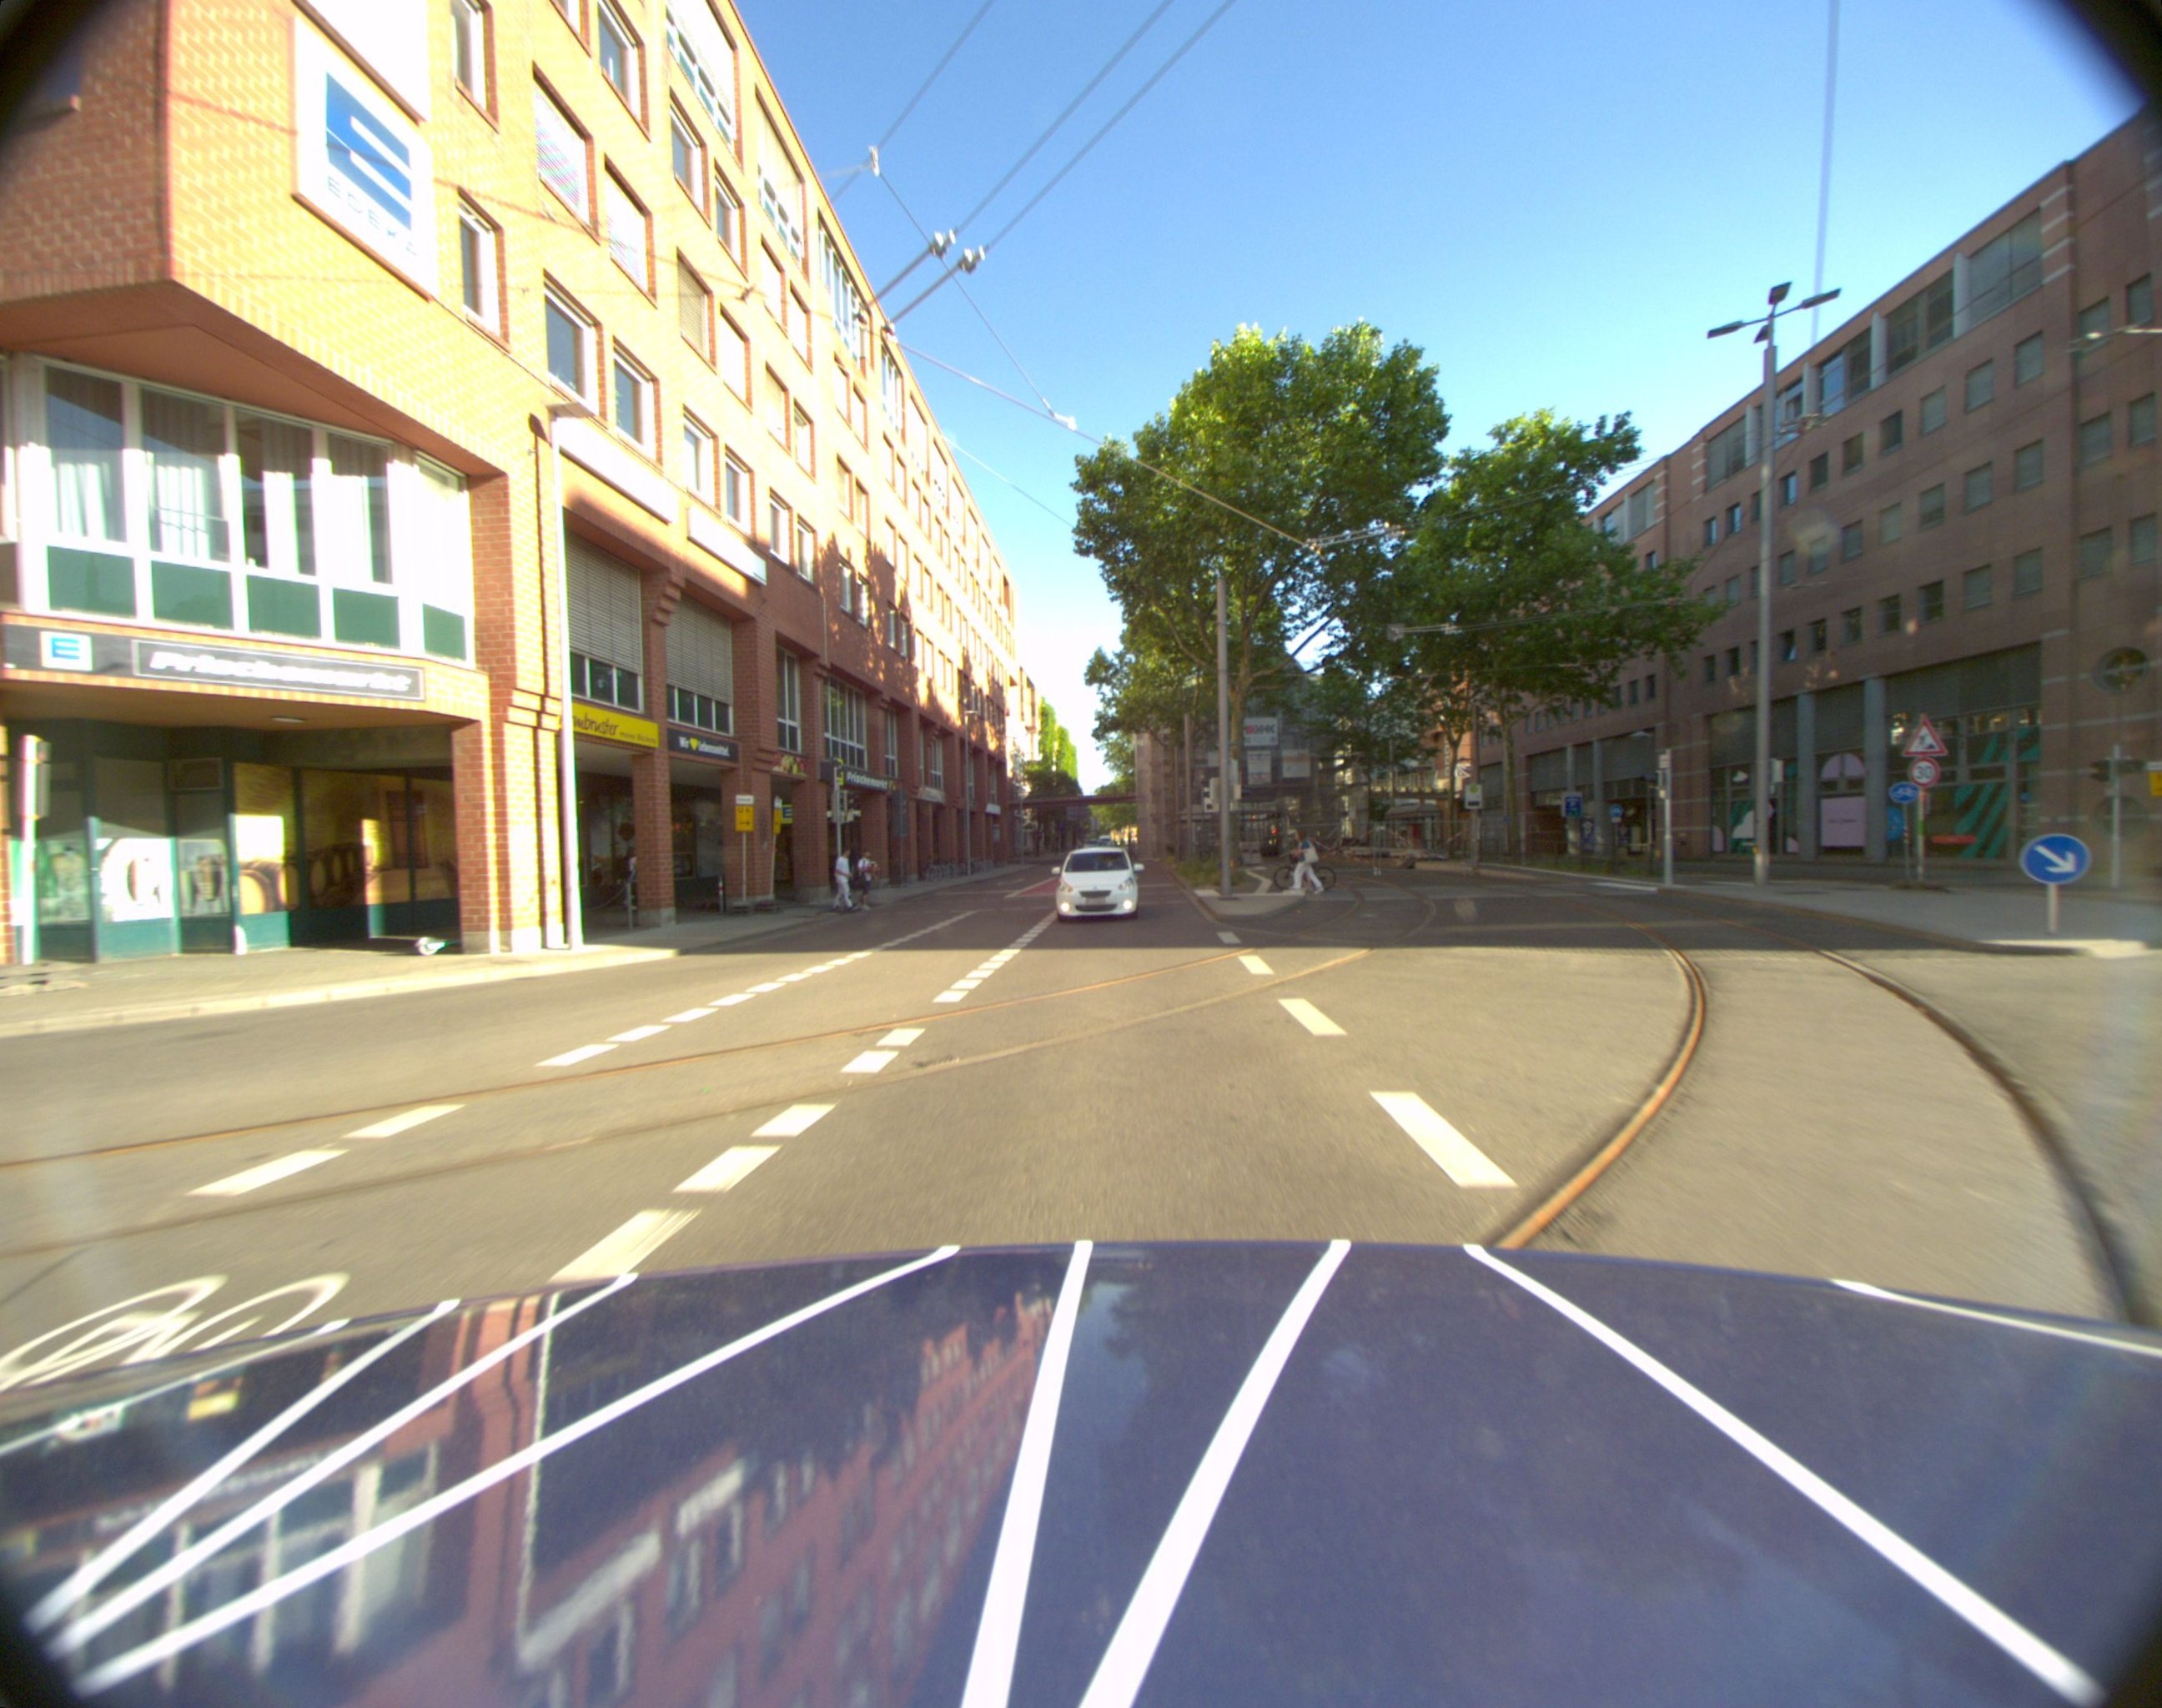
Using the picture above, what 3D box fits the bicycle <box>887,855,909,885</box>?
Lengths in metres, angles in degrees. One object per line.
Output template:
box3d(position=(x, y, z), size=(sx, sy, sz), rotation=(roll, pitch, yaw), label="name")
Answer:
box3d(position=(-7.486, 0.647, 31.128), size=(0.340, 1.176, 1.679), rotation=(-1, 0, 6), label="bicycle")

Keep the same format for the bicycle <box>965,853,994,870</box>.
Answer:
box3d(position=(-6.077, 0.451, 45.563), size=(1.614, 0.949, 0.555), rotation=(1, 1, 6), label="bicycle")

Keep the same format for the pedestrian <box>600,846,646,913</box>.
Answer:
box3d(position=(-11.650, 0.629, 19.352), size=(0.601, 1.652, 0.797), rotation=(-2, 1, 4), label="pedestrian")

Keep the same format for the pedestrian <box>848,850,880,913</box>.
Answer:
box3d(position=(-6.051, 0.749, 21.171), size=(0.631, 1.715, 0.634), rotation=(-2, 1, -37), label="pedestrian")

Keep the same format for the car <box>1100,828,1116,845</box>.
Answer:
box3d(position=(4.428, -2.781, 123.821), size=(2.119, 2.550, 5.906), rotation=(-2, 1, 5), label="car")

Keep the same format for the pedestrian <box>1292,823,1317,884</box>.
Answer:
box3d(position=(6.253, -0.008, 21.251), size=(0.567, 1.670, 0.531), rotation=(-1, 1, 6), label="pedestrian")

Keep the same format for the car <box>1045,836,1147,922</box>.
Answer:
box3d(position=(0.312, 0.434, 15.823), size=(1.808, 1.492, 4.200), rotation=(-2, 1, 1), label="car")

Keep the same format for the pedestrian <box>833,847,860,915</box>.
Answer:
box3d(position=(-6.315, 0.714, 20.471), size=(0.477, 1.782, 0.541), rotation=(-2, 1, 4), label="pedestrian")

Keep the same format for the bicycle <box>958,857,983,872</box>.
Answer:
box3d(position=(-6.205, 0.582, 42.796), size=(1.336, 0.836, 0.425), rotation=(1, 1, 6), label="bicycle")

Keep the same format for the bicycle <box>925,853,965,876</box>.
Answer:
box3d(position=(-6.773, 0.513, 37.889), size=(1.895, 1.112, 0.475), rotation=(-1, 1, 4), label="bicycle")

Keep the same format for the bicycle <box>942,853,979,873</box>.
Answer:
box3d(position=(-6.585, 0.478, 41.606), size=(1.936, 1.051, 0.573), rotation=(1, 1, 8), label="bicycle")

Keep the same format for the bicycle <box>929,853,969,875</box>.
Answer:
box3d(position=(-6.721, 0.503, 38.737), size=(1.895, 1.112, 0.550), rotation=(-1, 1, 4), label="bicycle")

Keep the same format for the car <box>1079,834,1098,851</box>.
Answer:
box3d(position=(0.930, -1.403, 93.730), size=(1.923, 2.066, 5.171), rotation=(-2, 1, 4), label="car")

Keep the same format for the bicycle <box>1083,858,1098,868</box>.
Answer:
box3d(position=(1.063, 0.960, 83.034), size=(1.678, 1.061, 0.501), rotation=(-2, 1, 39), label="bicycle")

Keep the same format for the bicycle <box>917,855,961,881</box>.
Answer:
box3d(position=(-6.384, 0.638, 34.191), size=(1.895, 1.112, 0.475), rotation=(-1, 1, 4), label="bicycle")

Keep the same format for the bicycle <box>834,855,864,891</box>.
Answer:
box3d(position=(-8.368, 0.673, 27.454), size=(0.340, 1.248, 1.711), rotation=(-1, 0, 6), label="bicycle")

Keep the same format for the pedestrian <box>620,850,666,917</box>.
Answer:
box3d(position=(-10.719, 0.710, 18.591), size=(0.847, 1.580, 0.753), rotation=(-2, 1, -35), label="pedestrian")

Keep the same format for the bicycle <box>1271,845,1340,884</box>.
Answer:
box3d(position=(6.419, 0.287, 21.757), size=(1.833, 1.072, 0.481), rotation=(-1, 1, 5), label="bicycle")

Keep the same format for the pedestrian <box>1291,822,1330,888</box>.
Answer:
box3d(position=(6.155, 0.036, 20.446), size=(0.779, 1.724, 0.848), rotation=(-1, 1, 1), label="pedestrian")
